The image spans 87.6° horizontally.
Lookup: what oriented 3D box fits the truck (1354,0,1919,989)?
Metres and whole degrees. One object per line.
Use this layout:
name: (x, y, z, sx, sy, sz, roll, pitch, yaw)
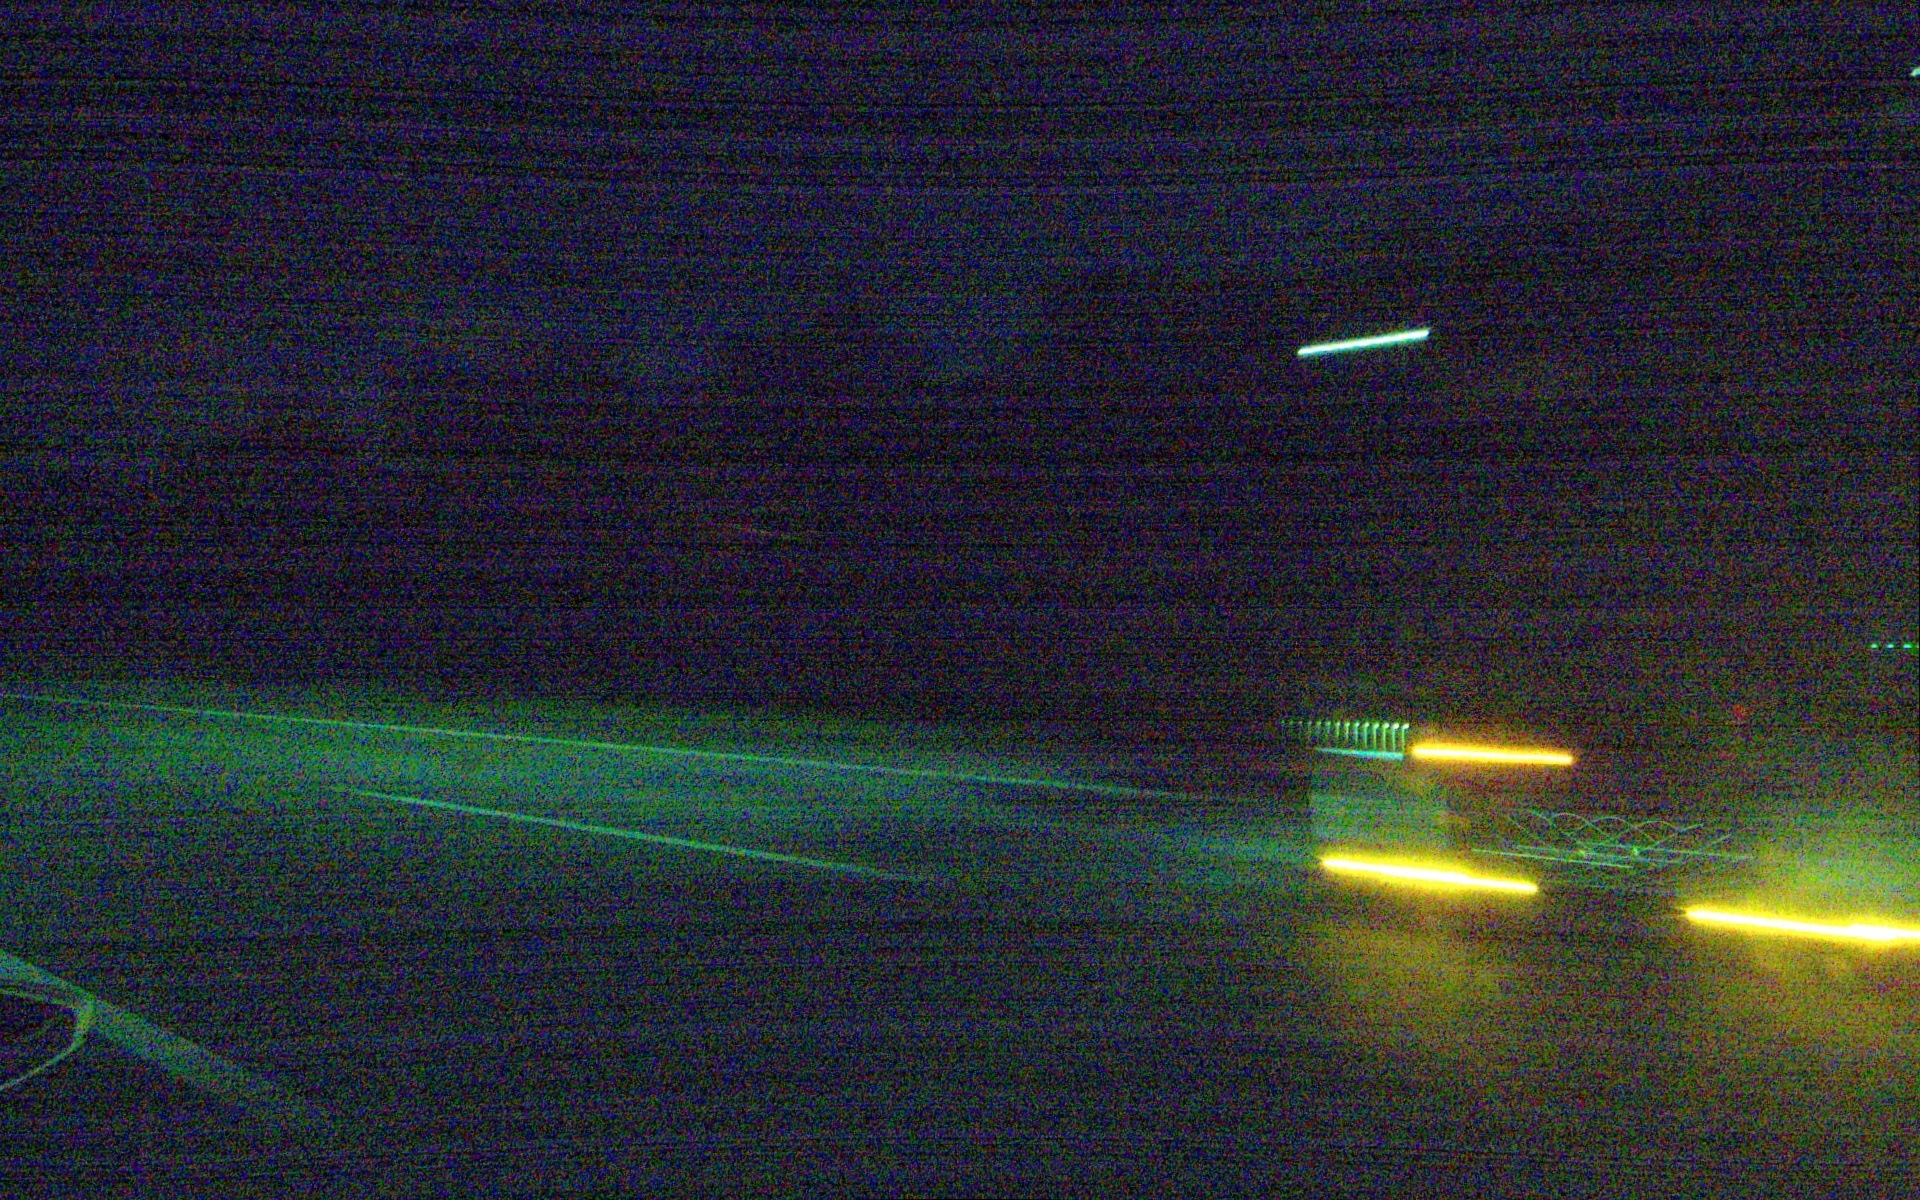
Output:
truck: (5.959, -0.443, 4.386, 7.564, 4.124, 2.587, -1, -2, 32)
